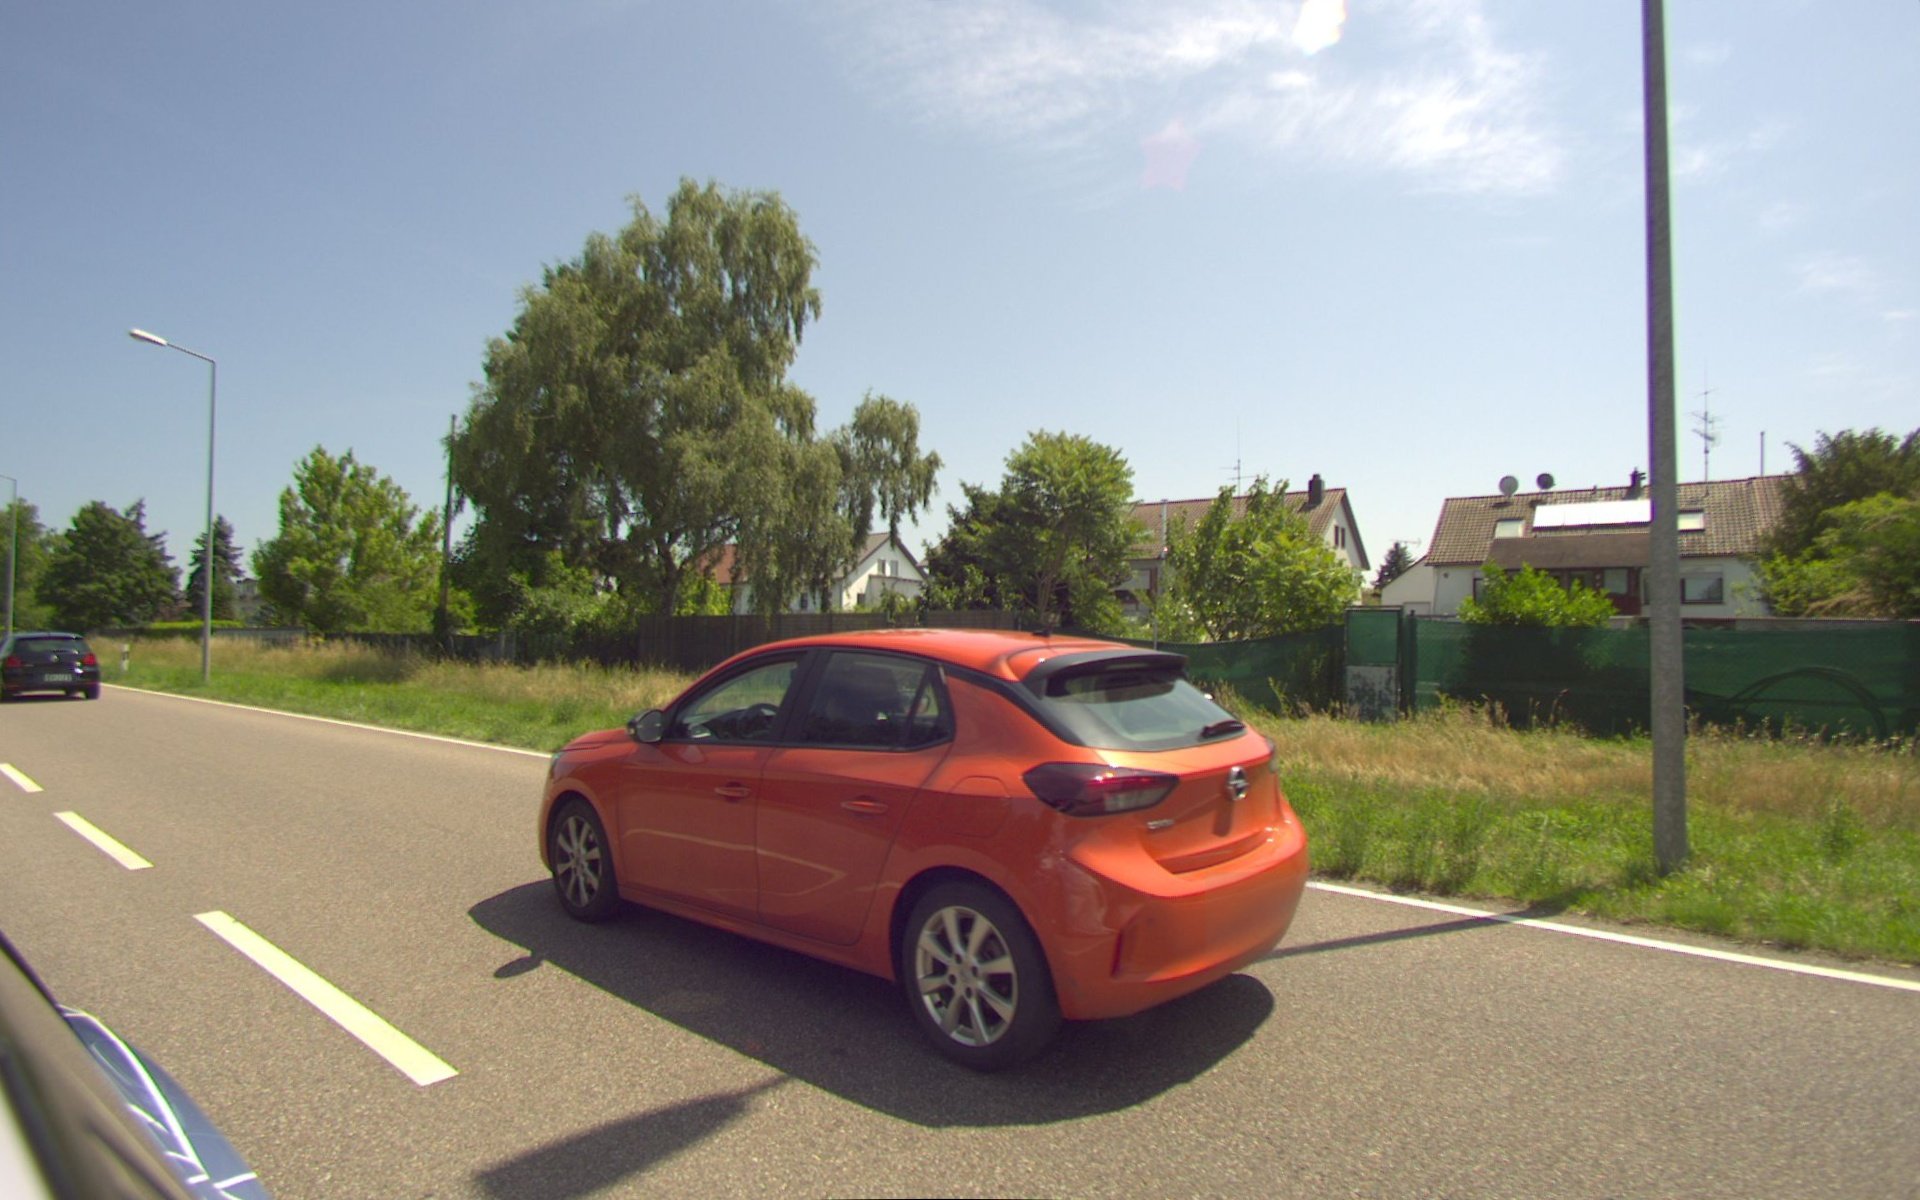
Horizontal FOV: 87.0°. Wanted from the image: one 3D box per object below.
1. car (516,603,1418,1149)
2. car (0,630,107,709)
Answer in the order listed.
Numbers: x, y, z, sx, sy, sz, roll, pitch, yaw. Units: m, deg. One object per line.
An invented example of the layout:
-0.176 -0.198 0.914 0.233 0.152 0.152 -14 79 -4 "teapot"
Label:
-0.288 0.786 4.598 3.998 1.409 1.661 -2 -3 42 "car"
-20.266 1.455 22.158 3.963 1.582 1.668 -2 -3 39 "car"
